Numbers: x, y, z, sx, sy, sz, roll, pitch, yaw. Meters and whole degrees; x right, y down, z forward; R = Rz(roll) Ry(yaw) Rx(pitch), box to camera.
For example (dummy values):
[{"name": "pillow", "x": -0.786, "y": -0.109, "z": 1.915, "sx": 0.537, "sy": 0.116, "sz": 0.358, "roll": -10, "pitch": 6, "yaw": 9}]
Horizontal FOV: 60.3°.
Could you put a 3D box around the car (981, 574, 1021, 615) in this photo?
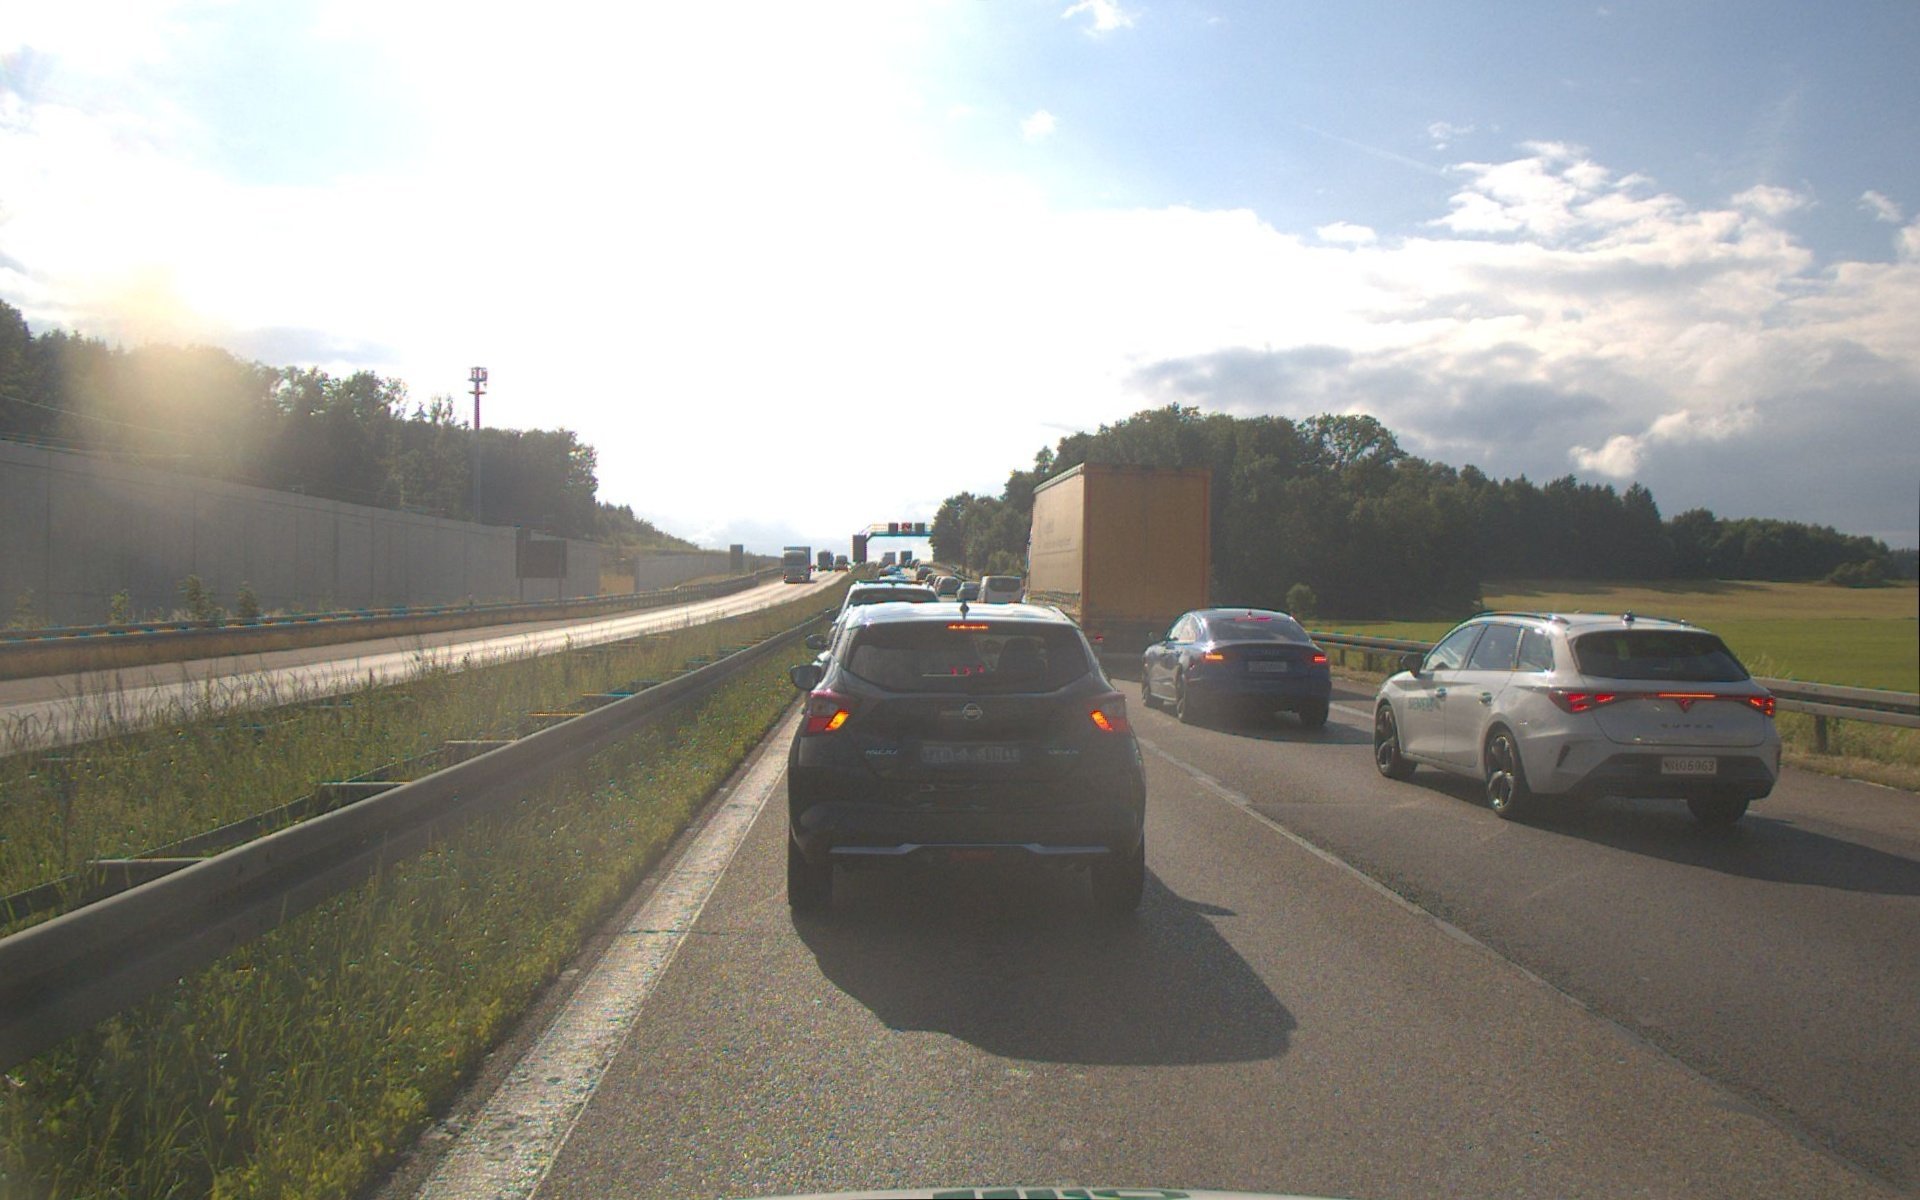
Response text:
[{"name": "car", "x": 1.833, "y": -0.232, "z": 74.904, "sx": 1.633, "sy": 1.785, "sz": 3.326, "roll": 1, "pitch": 0, "yaw": -1}]

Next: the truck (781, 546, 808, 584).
[{"name": "truck", "x": -18.991, "y": -3.983, "z": 190.090, "sx": 2.585, "sy": 4.169, "sz": 6.998, "roll": 1, "pitch": 0, "yaw": -3}]

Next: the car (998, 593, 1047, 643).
[{"name": "car", "x": 2.289, "y": 0.651, "z": 61.189, "sx": 1.633, "sy": 1.785, "sz": 3.326, "roll": 1, "pitch": 0, "yaw": -1}]

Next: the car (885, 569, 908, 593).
[{"name": "car", "x": -5.640, "y": -1.645, "z": 146.958, "sx": 1.954, "sy": 2.049, "sz": 3.997, "roll": 1, "pitch": 0, "yaw": -3}]

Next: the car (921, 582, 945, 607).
[{"name": "car", "x": -2.349, "y": -0.467, "z": 143.512, "sx": 1.954, "sy": 2.049, "sz": 3.997, "roll": 1, "pitch": 0, "yaw": -3}]

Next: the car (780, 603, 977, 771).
[{"name": "car", "x": -0.728, "y": 0.744, "z": 15.755, "sx": 1.640, "sy": 1.391, "sz": 3.595, "roll": 1, "pitch": 0, "yaw": -1}]

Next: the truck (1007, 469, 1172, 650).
[{"name": "truck", "x": 3.337, "y": -0.987, "z": 44.673, "sx": 3.511, "sy": 4.456, "sz": 6.684, "roll": 1, "pitch": 0, "yaw": -3}]

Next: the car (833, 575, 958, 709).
[{"name": "car", "x": -0.897, "y": 0.567, "z": 23.733, "sx": 1.640, "sy": 1.756, "sz": 3.595, "roll": 1, "pitch": 0, "yaw": -1}]

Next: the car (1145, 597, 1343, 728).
[{"name": "car", "x": 3.524, "y": 0.738, "z": 21.231, "sx": 1.712, "sy": 1.501, "sz": 4.145, "roll": 1, "pitch": 0, "yaw": -1}]

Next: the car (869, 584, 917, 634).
[{"name": "car", "x": -2.902, "y": 0.379, "z": 71.142, "sx": 1.954, "sy": 2.049, "sz": 3.997, "roll": 1, "pitch": 0, "yaw": -3}]

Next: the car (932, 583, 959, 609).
[{"name": "car", "x": -1.175, "y": -0.331, "z": 134.015, "sx": 1.954, "sy": 2.049, "sz": 3.997, "roll": 1, "pitch": 0, "yaw": -3}]

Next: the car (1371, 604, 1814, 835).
[{"name": "car", "x": 4.586, "y": 0.782, "z": 12.698, "sx": 1.588, "sy": 1.471, "sz": 4.143, "roll": 1, "pitch": 0, "yaw": -4}]

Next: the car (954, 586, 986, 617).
[{"name": "car", "x": 0.707, "y": 0.114, "z": 115.714, "sx": 1.954, "sy": 2.049, "sz": 3.997, "roll": 1, "pitch": 0, "yaw": -3}]

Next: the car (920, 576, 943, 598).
[{"name": "car", "x": -2.725, "y": -1.199, "z": 157.910, "sx": 1.954, "sy": 2.049, "sz": 3.997, "roll": 1, "pitch": 0, "yaw": -3}]

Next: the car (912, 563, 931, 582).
[{"name": "car", "x": -4.409, "y": -3.114, "z": 188.383, "sx": 1.954, "sy": 2.049, "sz": 3.997, "roll": 1, "pitch": 0, "yaw": -3}]

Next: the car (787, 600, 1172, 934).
[{"name": "car", "x": 0.065, "y": 0.747, "z": 8.977, "sx": 1.675, "sy": 1.451, "sz": 3.377, "roll": 1, "pitch": 0, "yaw": -1}]

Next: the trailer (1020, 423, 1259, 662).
[{"name": "trailer", "x": 3.696, "y": -1.075, "z": 38.189, "sx": 3.478, "sy": 4.535, "sz": 12.714, "roll": 1, "pitch": 0, "yaw": -3}]

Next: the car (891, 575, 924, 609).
[{"name": "car", "x": -3.321, "y": -0.467, "z": 103.296, "sx": 1.954, "sy": 2.049, "sz": 3.997, "roll": 1, "pitch": 0, "yaw": -3}]
